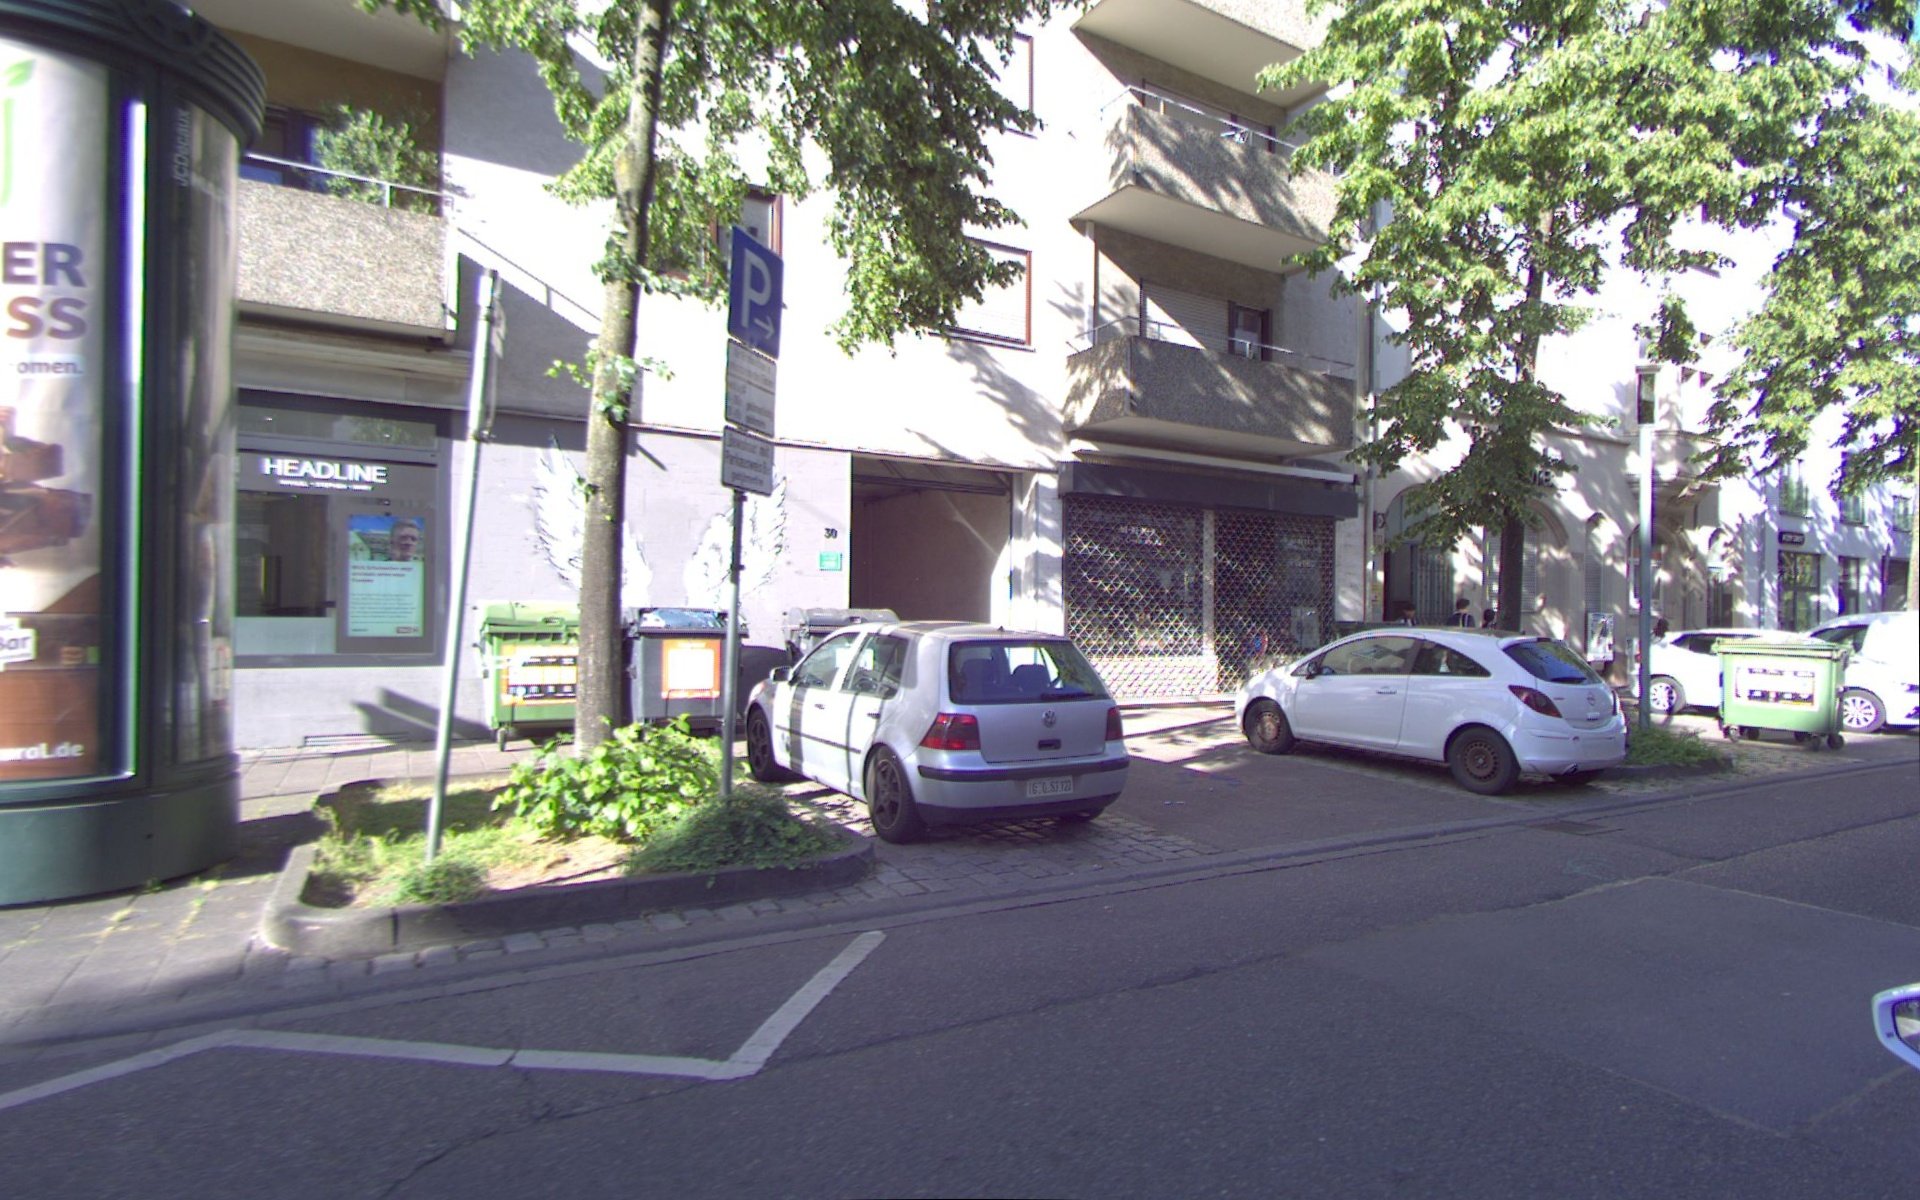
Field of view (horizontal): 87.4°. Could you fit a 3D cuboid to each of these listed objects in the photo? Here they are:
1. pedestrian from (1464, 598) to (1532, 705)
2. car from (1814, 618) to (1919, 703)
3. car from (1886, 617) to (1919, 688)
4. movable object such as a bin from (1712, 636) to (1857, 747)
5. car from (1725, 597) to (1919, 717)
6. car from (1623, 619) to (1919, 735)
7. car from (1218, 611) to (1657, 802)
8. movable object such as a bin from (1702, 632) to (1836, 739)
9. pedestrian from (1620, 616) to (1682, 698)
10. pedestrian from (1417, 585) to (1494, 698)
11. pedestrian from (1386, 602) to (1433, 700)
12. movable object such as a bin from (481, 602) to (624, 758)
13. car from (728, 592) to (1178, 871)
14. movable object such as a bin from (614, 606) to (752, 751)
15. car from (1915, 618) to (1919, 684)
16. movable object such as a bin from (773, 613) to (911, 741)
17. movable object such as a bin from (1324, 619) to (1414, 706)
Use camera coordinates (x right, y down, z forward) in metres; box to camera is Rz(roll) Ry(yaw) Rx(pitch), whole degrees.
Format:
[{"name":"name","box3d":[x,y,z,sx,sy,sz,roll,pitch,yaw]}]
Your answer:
[{"name":"pedestrian","box3d":[8.651,0.819,16.153,0.719,1.648,0.562,1,4,-32]},{"name":"car","box3d":[19.007,1.168,19.162,1.770,1.579,3.783,1,0,-29]},{"name":"car","box3d":[23.169,1.202,21.660,1.922,1.591,4.347,1,0,-29]},{"name":"movable object such as a bin","box3d":[10.619,1.143,12.957,0.860,1.319,1.231,1,-1,-30]},{"name":"car","box3d":[15.682,0.921,16.825,2.014,1.860,4.087,1,0,-29]},{"name":"car","box3d":[13.082,1.104,15.859,1.864,1.483,3.962,1,0,-29]},{"name":"car","box3d":[4.649,0.905,10.307,1.691,1.483,3.757,1,0,-32]},{"name":"movable object such as a bin","box3d":[11.170,1.142,13.890,0.921,1.363,1.186,1,0,-31]},{"name":"pedestrian","box3d":[13.172,1.074,19.149,0.832,1.514,0.590,1,2,-29]},{"name":"pedestrian","box3d":[8.280,0.676,16.798,0.754,1.790,0.770,1,4,-32]},{"name":"pedestrian","box3d":[7.977,0.898,17.812,0.631,1.694,0.432,1,0,-27]},{"name":"movable object such as a bin","box3d":[-4.206,0.778,10.336,1.243,1.479,1.029,1,-1,-29]},{"name":"car","box3d":[-0.344,0.760,7.775,1.728,1.483,3.979,3,0,-29]},{"name":"movable object such as a bin","box3d":[-3.038,0.811,10.975,1.243,1.479,1.029,1,-1,-29]},{"name":"car","box3d":[25.149,1.253,23.040,1.956,1.591,4.347,1,0,-29]},{"name":"movable object such as a bin","box3d":[-1.422,0.879,12.043,1.335,1.433,1.073,1,-1,-29]},{"name":"movable object such as a bin","box3d":[7.021,1.055,17.253,1.211,1.416,0.818,1,0,-27]}]
